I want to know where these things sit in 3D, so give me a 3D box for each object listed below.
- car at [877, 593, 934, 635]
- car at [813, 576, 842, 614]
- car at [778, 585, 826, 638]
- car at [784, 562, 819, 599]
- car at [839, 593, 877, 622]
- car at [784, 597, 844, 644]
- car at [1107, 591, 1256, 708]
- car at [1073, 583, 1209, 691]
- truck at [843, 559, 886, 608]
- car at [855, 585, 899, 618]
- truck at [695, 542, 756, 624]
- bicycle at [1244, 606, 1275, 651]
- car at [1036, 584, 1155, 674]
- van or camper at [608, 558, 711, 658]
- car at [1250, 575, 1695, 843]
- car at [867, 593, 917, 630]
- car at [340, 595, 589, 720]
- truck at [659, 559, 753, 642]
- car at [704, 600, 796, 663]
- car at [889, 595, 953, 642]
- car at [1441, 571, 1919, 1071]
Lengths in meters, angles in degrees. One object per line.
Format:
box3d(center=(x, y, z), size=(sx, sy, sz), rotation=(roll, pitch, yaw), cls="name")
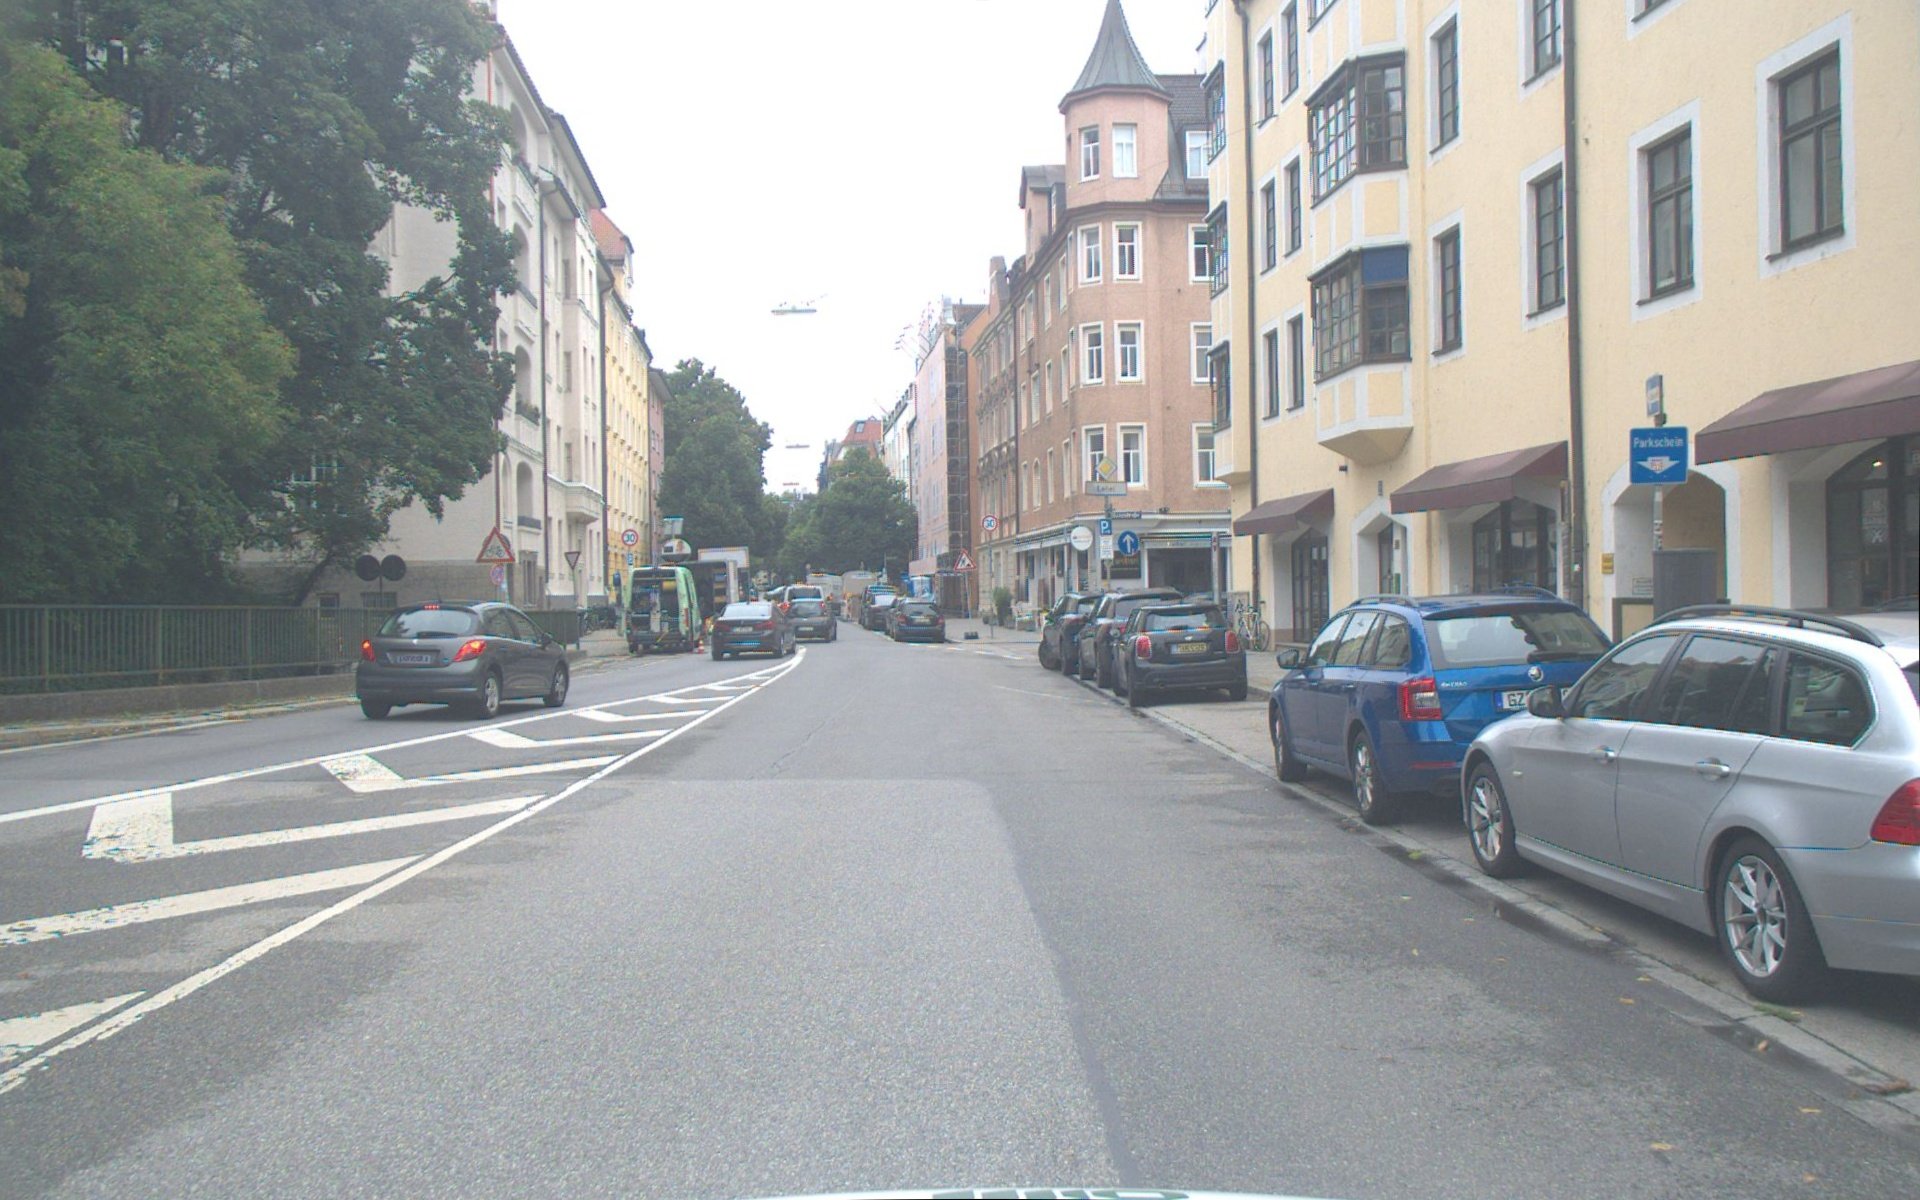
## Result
box3d(center=(-2.124, 0.509, 63.719), size=(1.809, 1.454, 4.134), rotation=(2, 1, -7), cls="car")
box3d(center=(-9.023, -0.324, 112.869), size=(1.901, 2.523, 4.779), rotation=(-1, 0, -4), cls="car")
box3d(center=(-6.663, 0.457, 69.943), size=(1.951, 2.111, 4.136), rotation=(-1, 1, -5), cls="car")
box3d(center=(-9.414, -1.136, 97.861), size=(1.955, 2.049, 3.995), rotation=(-2, 0, -6), cls="car")
box3d(center=(-5.569, 0.397, 89.898), size=(1.951, 1.454, 4.136), rotation=(-1, 1, -5), cls="car")
box3d(center=(-5.004, 0.669, 56.615), size=(1.951, 1.454, 4.136), rotation=(-1, 1, -5), cls="car")
box3d(center=(3.221, 0.673, 24.712), size=(1.720, 1.522, 3.823), rotation=(-3, 0, 1), cls="car")
box3d(center=(3.164, 0.599, 29.705), size=(1.721, 1.708, 4.705), rotation=(-3, 0, -2), cls="car")
box3d(center=(-6.166, -1.025, 106.161), size=(2.444, 3.025, 5.320), rotation=(-1, 0, -6), cls="truck")
box3d(center=(-4.063, 0.051, 80.162), size=(1.951, 1.454, 4.136), rotation=(-1, 1, -5), cls="car")
box3d(center=(-12.081, -0.848, 85.588), size=(2.955, 4.021, 6.984), rotation=(-1, 0, -7), cls="truck")
box3d(center=(6.802, 0.645, 37.618), size=(0.265, 0.994, 1.683), rotation=(0, 0, -5), cls="bicycle")
box3d(center=(2.798, 0.580, 35.100), size=(1.783, 1.708, 4.507), rotation=(-3, 0, -4), cls="car")
box3d(center=(-9.369, 0.176, 52.094), size=(2.550, 2.889, 6.180), rotation=(-1, 1, -5), cls="van or camper")
box3d(center=(3.474, 0.644, 12.165), size=(1.721, 1.522, 4.486), rotation=(-3, 0, -2), cls="car")
box3d(center=(-3.000, 0.482, 72.318), size=(1.809, 1.454, 4.300), rotation=(2, 1, -7), cls="car")
box3d(center=(-6.528, 0.697, 22.278), size=(1.721, 1.486, 4.077), rotation=(-1, 0, 6), cls="car")
box3d(center=(-9.523, -0.056, 62.656), size=(2.718, 2.923, 7.198), rotation=(-1, 1, -3), cls="truck")
box3d(center=(-5.536, 0.790, 44.061), size=(1.950, 1.454, 4.904), rotation=(-1, 1, -2), cls="car")
box3d(center=(-1.394, 0.620, 57.746), size=(1.809, 1.454, 4.177), rotation=(2, 1, -7), cls="car")
box3d(center=(3.709, 0.665, 7.411), size=(1.656, 1.522, 4.432), rotation=(-3, 0, -2), cls="car")
